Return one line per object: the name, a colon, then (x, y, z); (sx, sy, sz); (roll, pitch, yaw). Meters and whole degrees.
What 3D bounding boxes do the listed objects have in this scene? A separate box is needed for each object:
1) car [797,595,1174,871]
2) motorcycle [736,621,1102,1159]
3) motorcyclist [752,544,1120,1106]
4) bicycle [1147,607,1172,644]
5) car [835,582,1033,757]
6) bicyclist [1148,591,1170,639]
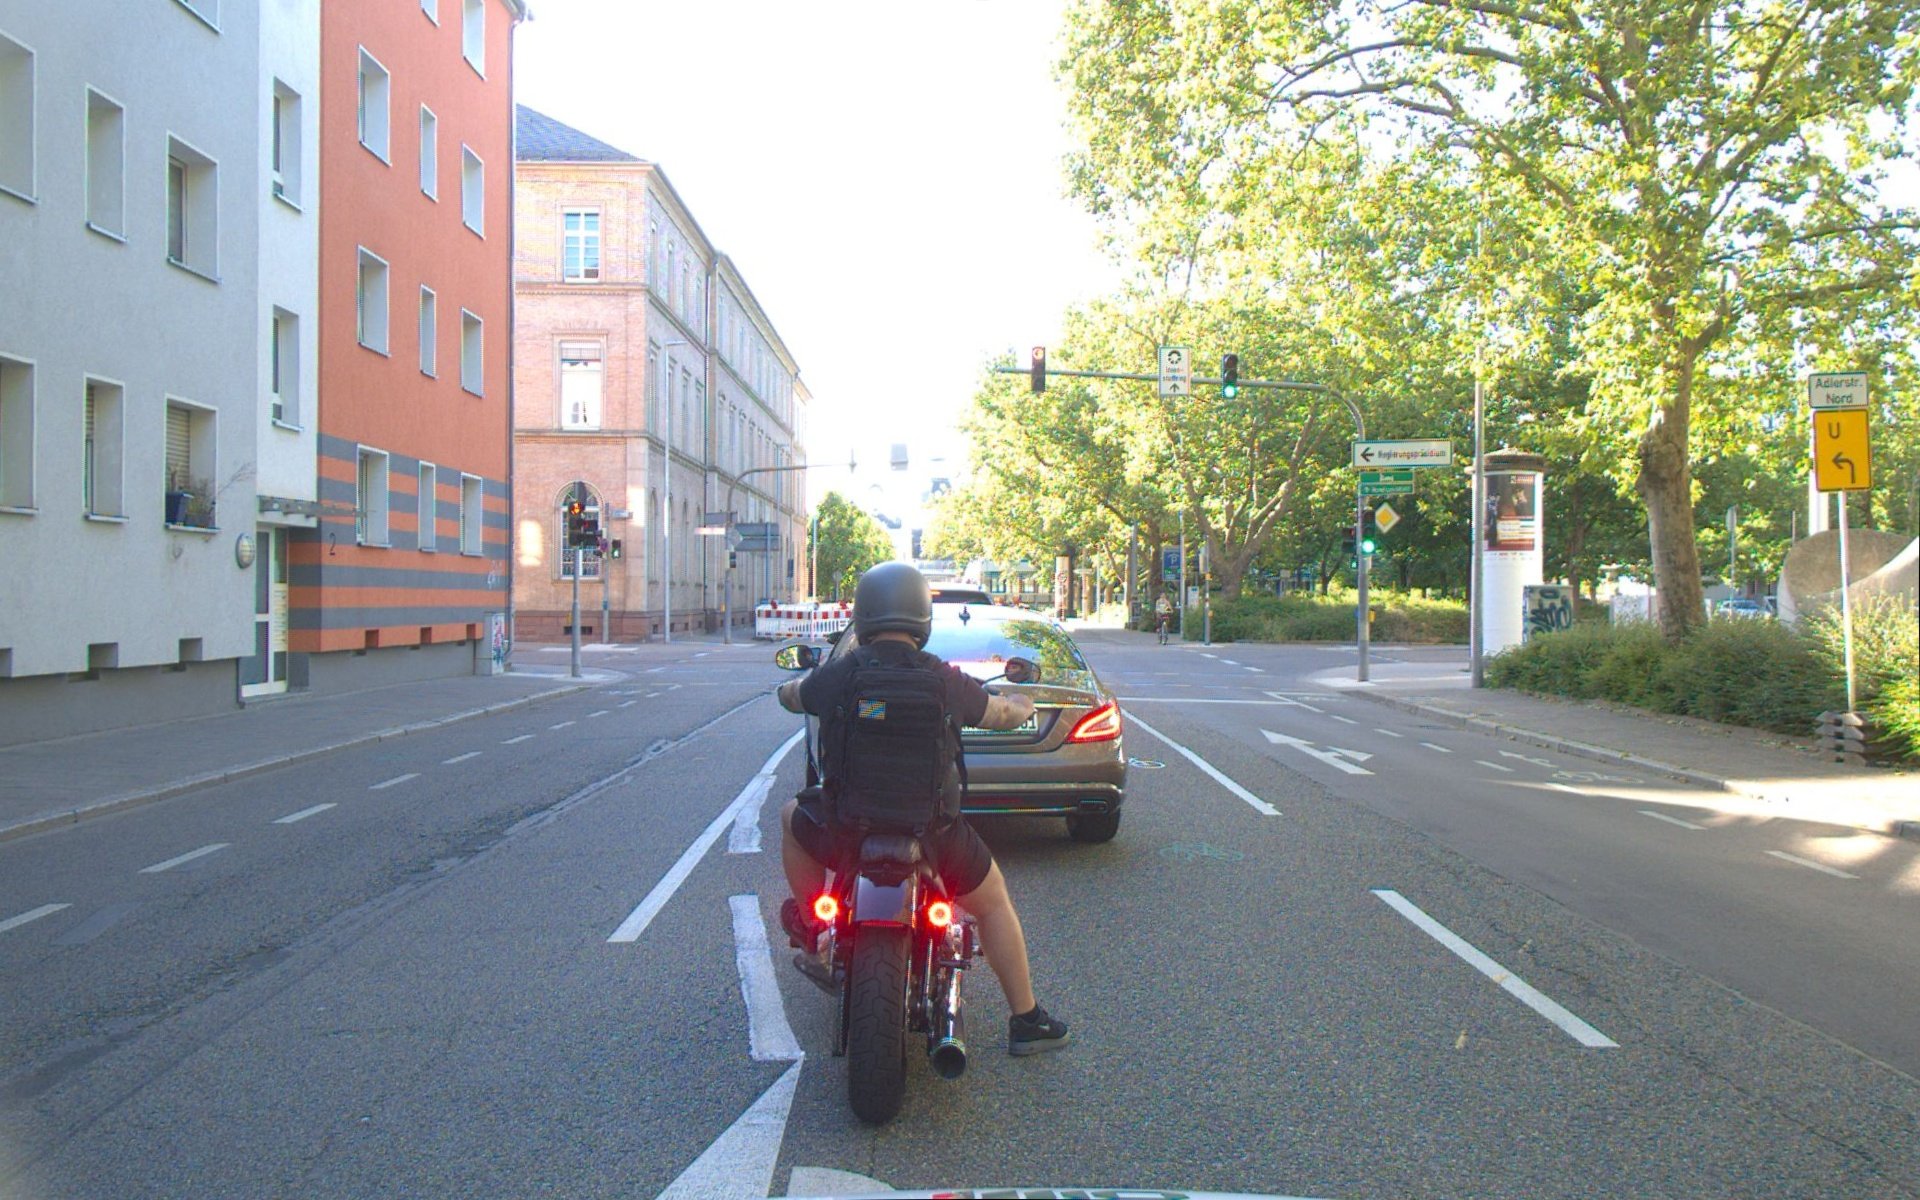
car: (-0.052, 0.704, 11.100); (1.867, 1.466, 4.280); (0, 0, -9)
motorcycle: (-0.124, 0.778, 5.512); (0.942, 1.380, 2.319); (1, 0, -1)
motorcyclist: (-0.074, 0.654, 5.243); (1.039, 1.610, 0.908); (1, 0, -1)
bicycle: (6.759, 0.854, 56.084); (0.701, 1.193, 2.177); (1, 0, 3)
car: (-0.339, 0.613, 16.742); (1.777, 1.563, 3.846); (0, 0, -3)
bicyclist: (6.763, 0.517, 56.209); (0.701, 1.610, 0.936); (1, 0, 4)
